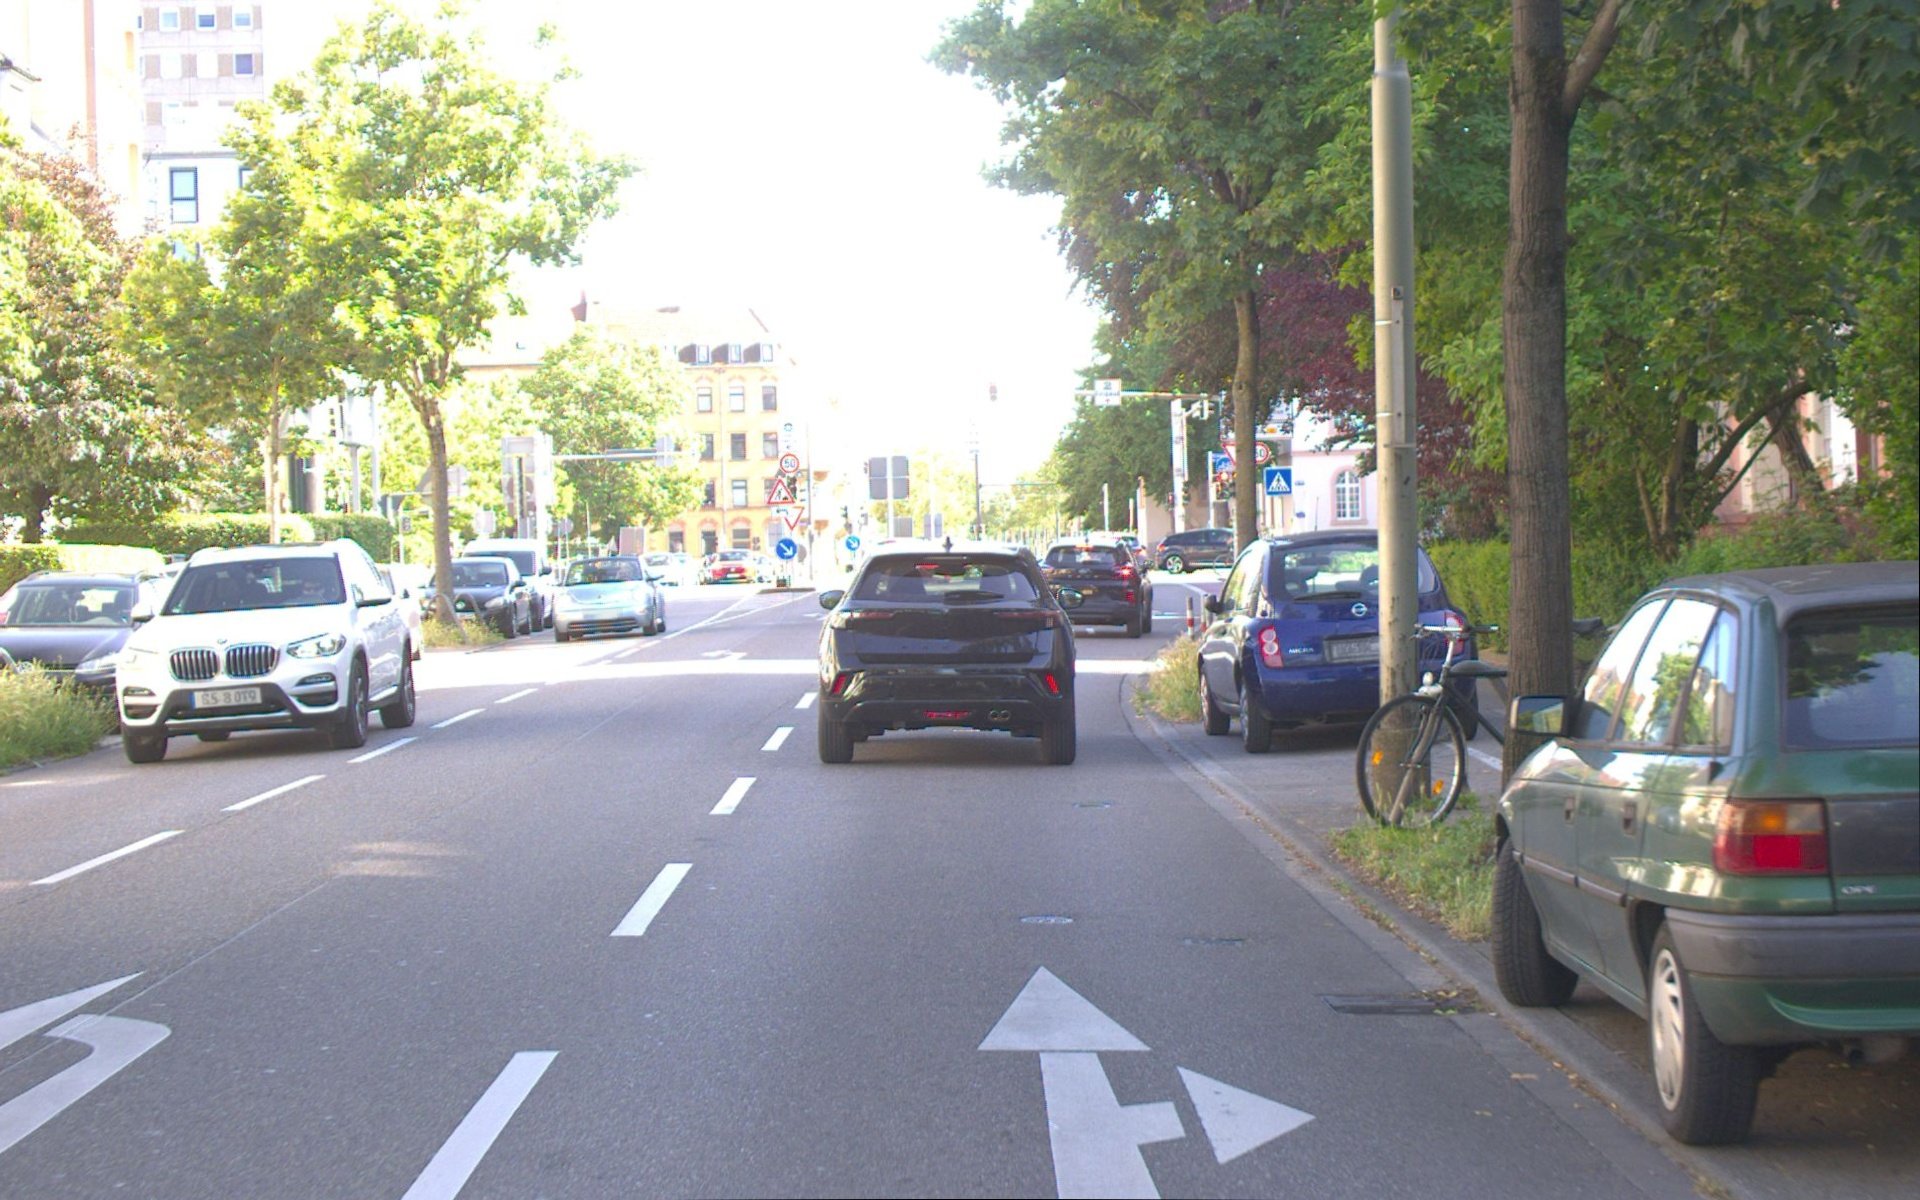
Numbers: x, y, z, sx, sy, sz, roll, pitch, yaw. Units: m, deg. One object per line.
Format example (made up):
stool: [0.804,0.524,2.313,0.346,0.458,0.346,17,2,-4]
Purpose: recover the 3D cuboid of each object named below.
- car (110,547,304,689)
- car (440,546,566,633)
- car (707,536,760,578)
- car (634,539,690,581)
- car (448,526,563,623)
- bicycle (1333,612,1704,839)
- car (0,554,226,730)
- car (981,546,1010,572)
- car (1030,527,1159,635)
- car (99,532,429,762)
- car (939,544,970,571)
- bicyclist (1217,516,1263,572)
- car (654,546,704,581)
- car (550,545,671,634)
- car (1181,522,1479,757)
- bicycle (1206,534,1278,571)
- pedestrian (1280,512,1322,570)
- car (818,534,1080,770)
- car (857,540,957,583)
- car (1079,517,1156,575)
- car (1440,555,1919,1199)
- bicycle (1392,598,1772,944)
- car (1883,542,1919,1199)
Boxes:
car: [-8.665,0.169,39.811,1.675,1.520,3.659,0,1,-4]
car: [-8.211,-0.210,61.998,1.671,1.451,4.111,-1,1,0]
car: [-9.046,-1.730,137.473,1.791,1.611,4.000,-2,1,0]
car: [-12.075,-1.641,139.444,1.874,1.611,4.000,-2,1,0]
car: [-9.007,-0.530,68.413,1.818,1.827,4.563,-1,1,-2]
bicycle: [2.765,0.624,17.124,1.740,1.018,0.524,-4,-2,7]
car: [-8.403,0.352,33.149,1.785,1.488,4.494,-1,2,-2]
car: [2.365,-2.700,227.142,1.861,1.654,4.000,1,1,1]
car: [2.083,-0.329,54.062,1.830,1.573,3.839,-2,1,0]
car: [-5.694,0.318,28.693,1.806,1.642,4.673,-4,1,-1]
car: [-0.408,-2.950,238.816,1.993,1.859,4.000,1,1,-2]
bicyclist: [8.314,-1.671,102.157,1.165,1.628,0.729,-1,1,-18]
car: [-12.458,-1.639,152.812,1.874,1.443,4.000,-2,1,0]
car: [-6.066,-0.212,60.031,1.737,1.376,3.937,-3,2,-1]
car: [2.648,0.236,25.314,1.559,1.510,3.655,-4,1,-2]
bicycle: [8.379,-1.409,102.208,2.031,1.057,0.622,-1,1,-18]
pedestrian: [9.982,-1.721,100.620,1.040,1.654,0.784,-2,1,-4]
car: [-0.097,0.317,24.702,1.745,1.568,3.558,0,1,-1]
car: [-1.873,-1.341,120.338,1.771,1.447,3.885,-2,1,-30]
car: [4.162,-1.446,91.213,1.830,1.447,3.988,-2,1,0]
car: [2.462,0.608,9.717,1.612,1.379,3.976,-2,1,0]
bicycle: [2.460,0.637,13.488,1.663,1.232,0.471,-2,1,-39]
car: [2.596,0.654,4.015,1.714,1.484,4.235,-2,1,-2]
